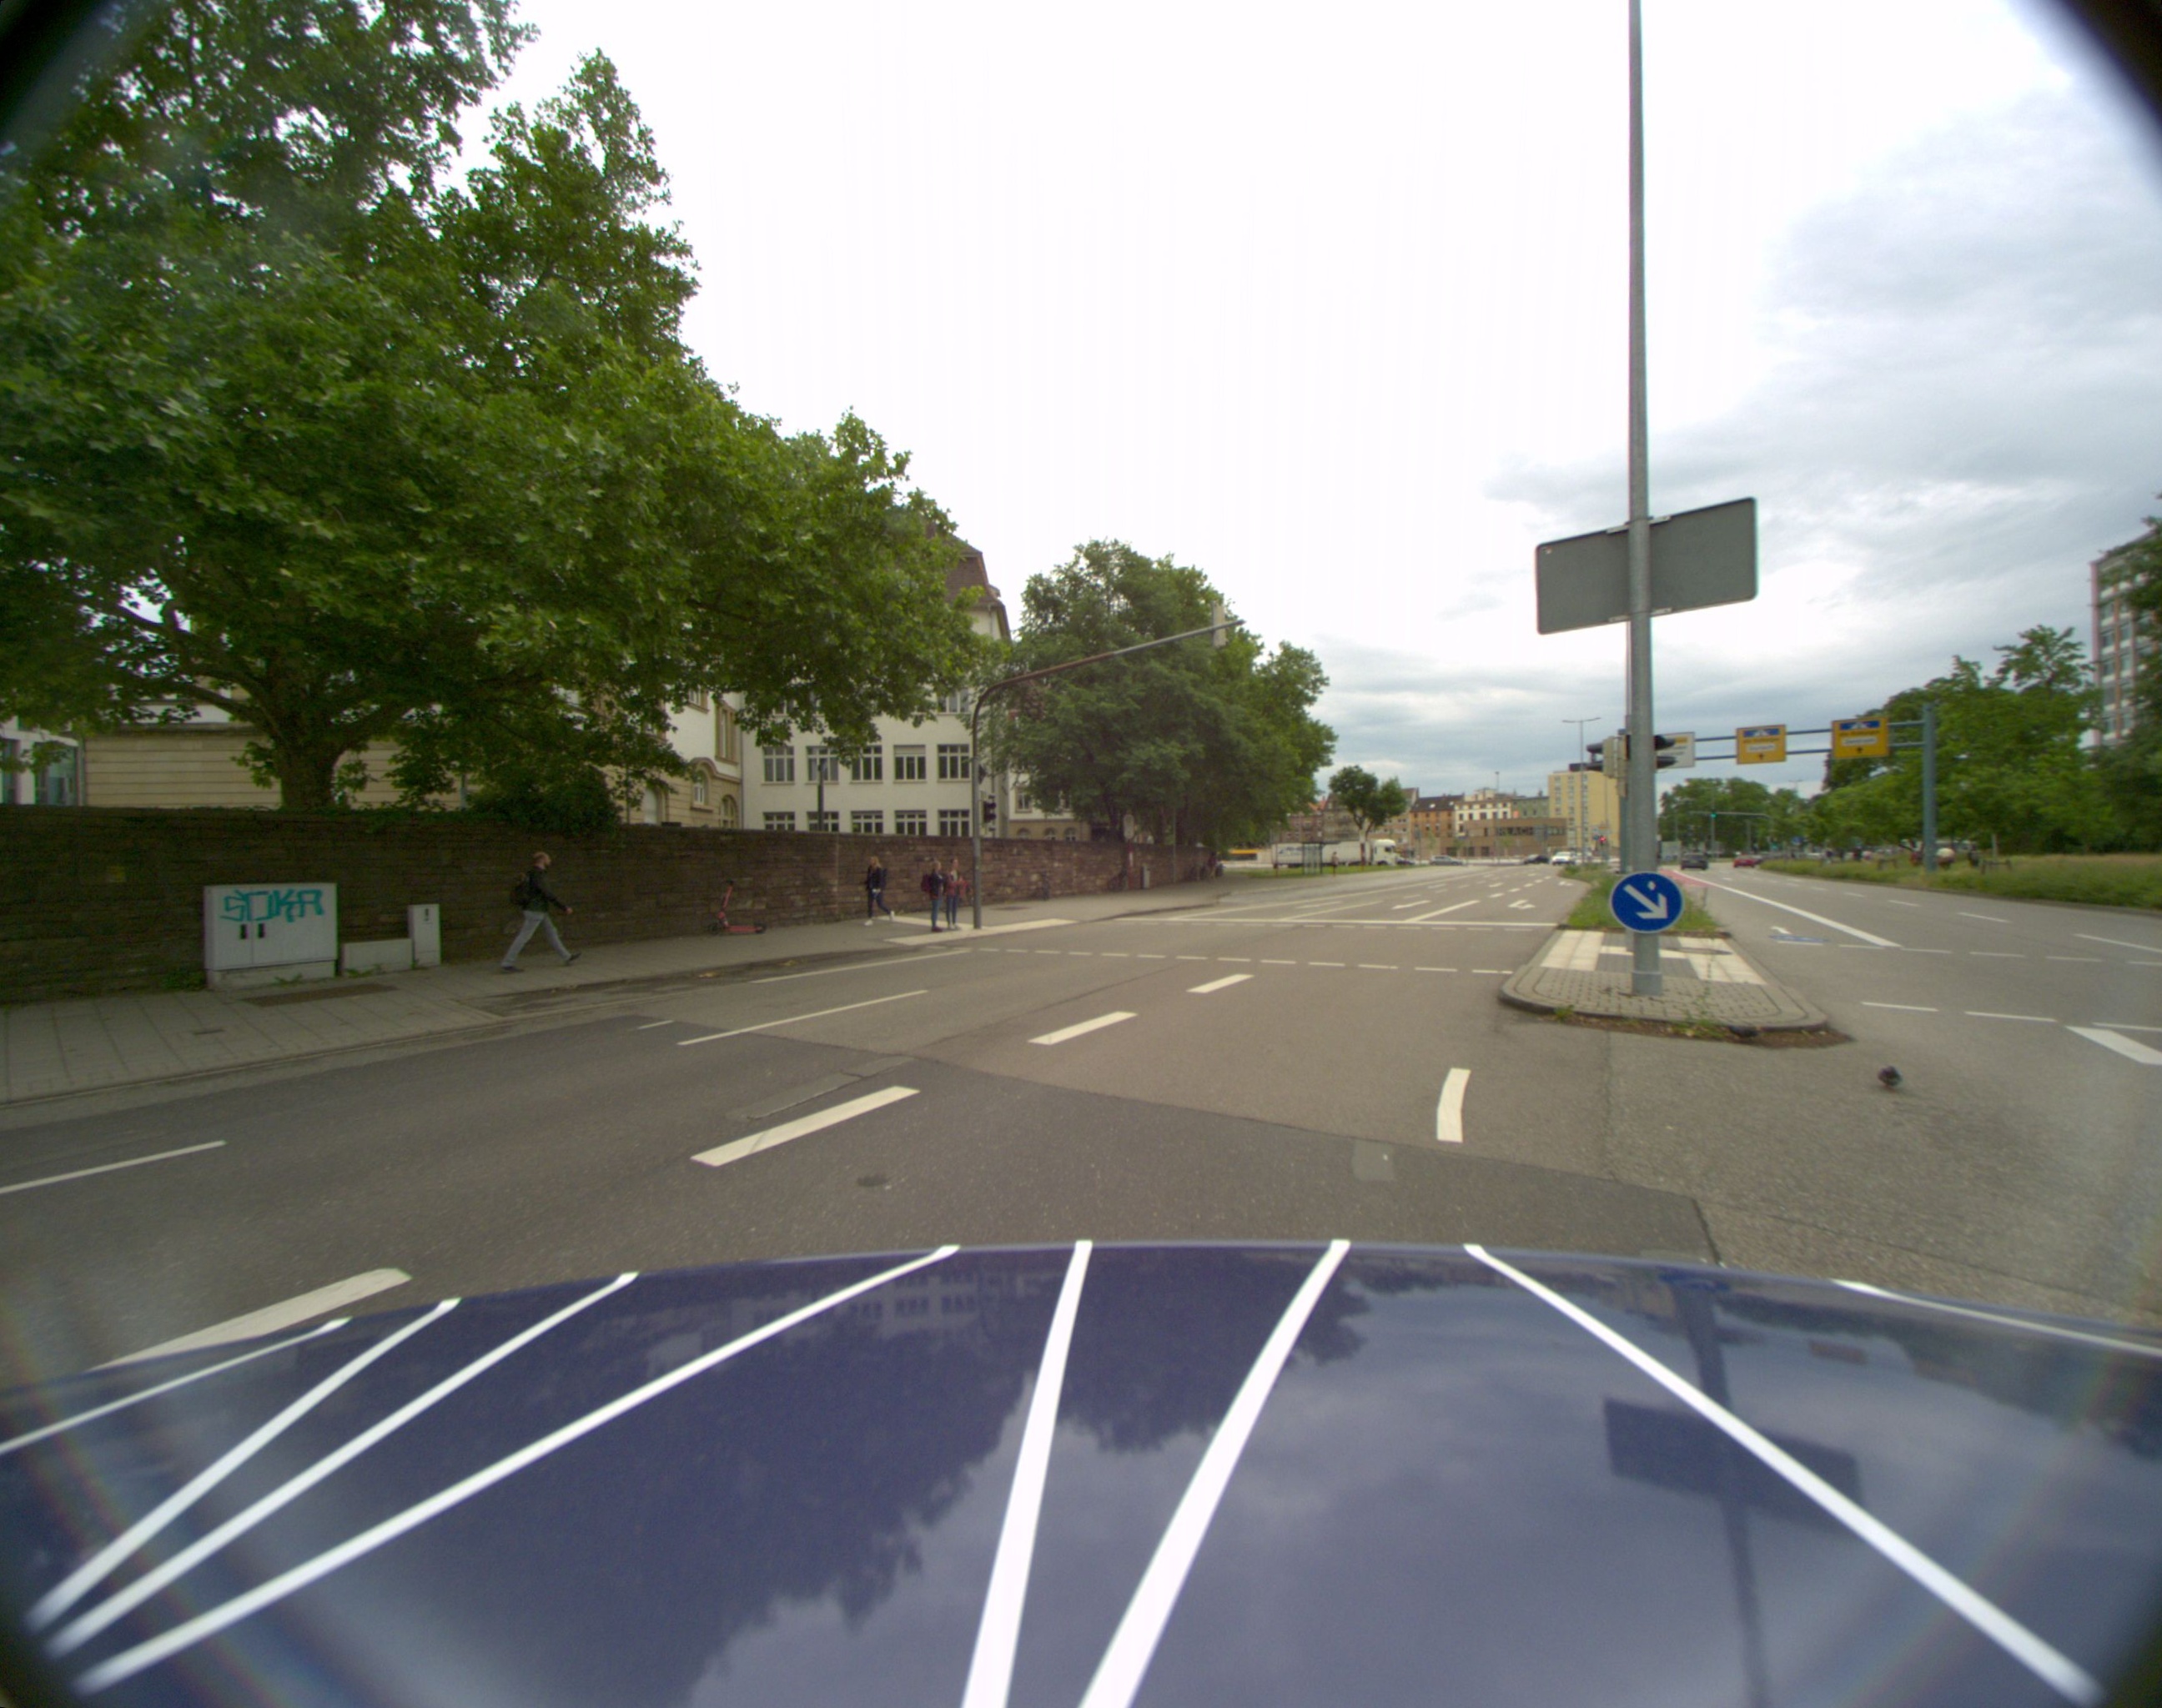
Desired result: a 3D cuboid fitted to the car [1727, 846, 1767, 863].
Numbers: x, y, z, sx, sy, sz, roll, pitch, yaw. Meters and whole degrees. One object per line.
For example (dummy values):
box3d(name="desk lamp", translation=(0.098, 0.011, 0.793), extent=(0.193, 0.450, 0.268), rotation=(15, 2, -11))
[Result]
box3d(name="car", translation=(82.755, 0.039, 94.460), extent=(1.997, 2.002, 4.003), rotation=(-1, 0, 10))

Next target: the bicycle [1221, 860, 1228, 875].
box3d(name="bicycle", translation=(11.865, 1.093, 62.704), extent=(0.507, 1.141, 2.250), rotation=(1, 0, 11))

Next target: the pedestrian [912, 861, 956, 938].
box3d(name="pedestrian", translation=(-3.447, 1.044, 17.824), extent=(0.733, 1.729, 0.672), rotation=(1, 1, 29))

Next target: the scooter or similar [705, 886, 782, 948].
box3d(name="scooter or similar", translation=(-7.233, 1.323, 16.298), extent=(1.416, 1.223, 0.494), rotation=(0, 1, -40))

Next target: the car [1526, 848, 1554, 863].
box3d(name="car", translation=(64.986, 0.208, 107.484), extent=(4.007, 2.002, 1.995), rotation=(-1, 0, -36))

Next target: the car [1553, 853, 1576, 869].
box3d(name="car", translation=(59.012, 0.785, 92.694), extent=(2.042, 1.687, 5.384), rotation=(-3, -1, 35))

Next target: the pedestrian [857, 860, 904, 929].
box3d(name="pedestrian", translation=(-5.010, 0.979, 18.965), extent=(0.789, 1.655, 0.811), rotation=(1, 1, 32))

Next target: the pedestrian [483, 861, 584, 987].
box3d(name="pedestrian", translation=(-8.250, 1.005, 11.475), extent=(0.755, 1.778, 1.009), rotation=(1, 1, 31))

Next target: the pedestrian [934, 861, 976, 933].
box3d(name="pedestrian", translation=(-3.050, 1.030, 18.406), extent=(0.777, 1.684, 0.644), rotation=(1, 1, 31))

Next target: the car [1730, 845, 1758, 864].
box3d(name="car", translation=(71.851, 0.034, 82.360), extent=(1.994, 2.002, 4.008), rotation=(-1, 0, 45))

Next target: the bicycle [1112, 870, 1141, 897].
box3d(name="bicycle", translation=(2.103, 1.342, 34.813), extent=(0.664, 1.141, 2.159), rotation=(1, 0, 21))

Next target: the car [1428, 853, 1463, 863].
box3d(name="car", translation=(49.522, 0.522, 103.250), extent=(3.989, 1.368, 2.004), rotation=(-1, 0, 31))

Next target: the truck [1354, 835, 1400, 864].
box3d(name="truck", translation=(40.194, -0.574, 103.186), extent=(5.436, 3.801, 2.850), rotation=(-1, 1, 31))

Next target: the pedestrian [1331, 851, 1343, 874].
box3d(name="pedestrian", translation=(18.358, 0.609, 54.454), extent=(0.641, 1.695, 0.710), rotation=(-1, 0, 32))

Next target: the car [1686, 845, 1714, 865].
box3d(name="car", translation=(57.863, 0.090, 70.992), extent=(1.994, 1.783, 4.008), rotation=(-1, 0, 39))

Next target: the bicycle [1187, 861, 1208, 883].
box3d(name="bicycle", translation=(7.152, 1.087, 46.471), extent=(0.664, 1.258, 2.547), rotation=(1, 0, 21))

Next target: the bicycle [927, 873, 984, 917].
box3d(name="bicycle", translation=(-3.698, 1.190, 22.590), extent=(0.582, 1.178, 2.160), rotation=(1, 1, 23))

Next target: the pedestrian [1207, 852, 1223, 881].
box3d(name="pedestrian", translation=(8.118, 0.739, 46.078), extent=(0.789, 1.749, 0.774), rotation=(0, 1, 19))

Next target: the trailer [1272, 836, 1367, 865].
box3d(name="trailer", translation=(33.544, -0.470, 107.225), extent=(12.341, 3.801, 2.850), rotation=(-1, 1, 31))

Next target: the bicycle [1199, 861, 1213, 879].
box3d(name="bicycle", translation=(8.266, 1.043, 50.169), extent=(0.507, 1.141, 2.251), rotation=(1, 0, 19))

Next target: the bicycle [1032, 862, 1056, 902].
box3d(name="bicycle", translation=(-1.358, 1.017, 28.160), extent=(0.669, 1.372, 2.586), rotation=(-1, 0, 2))
